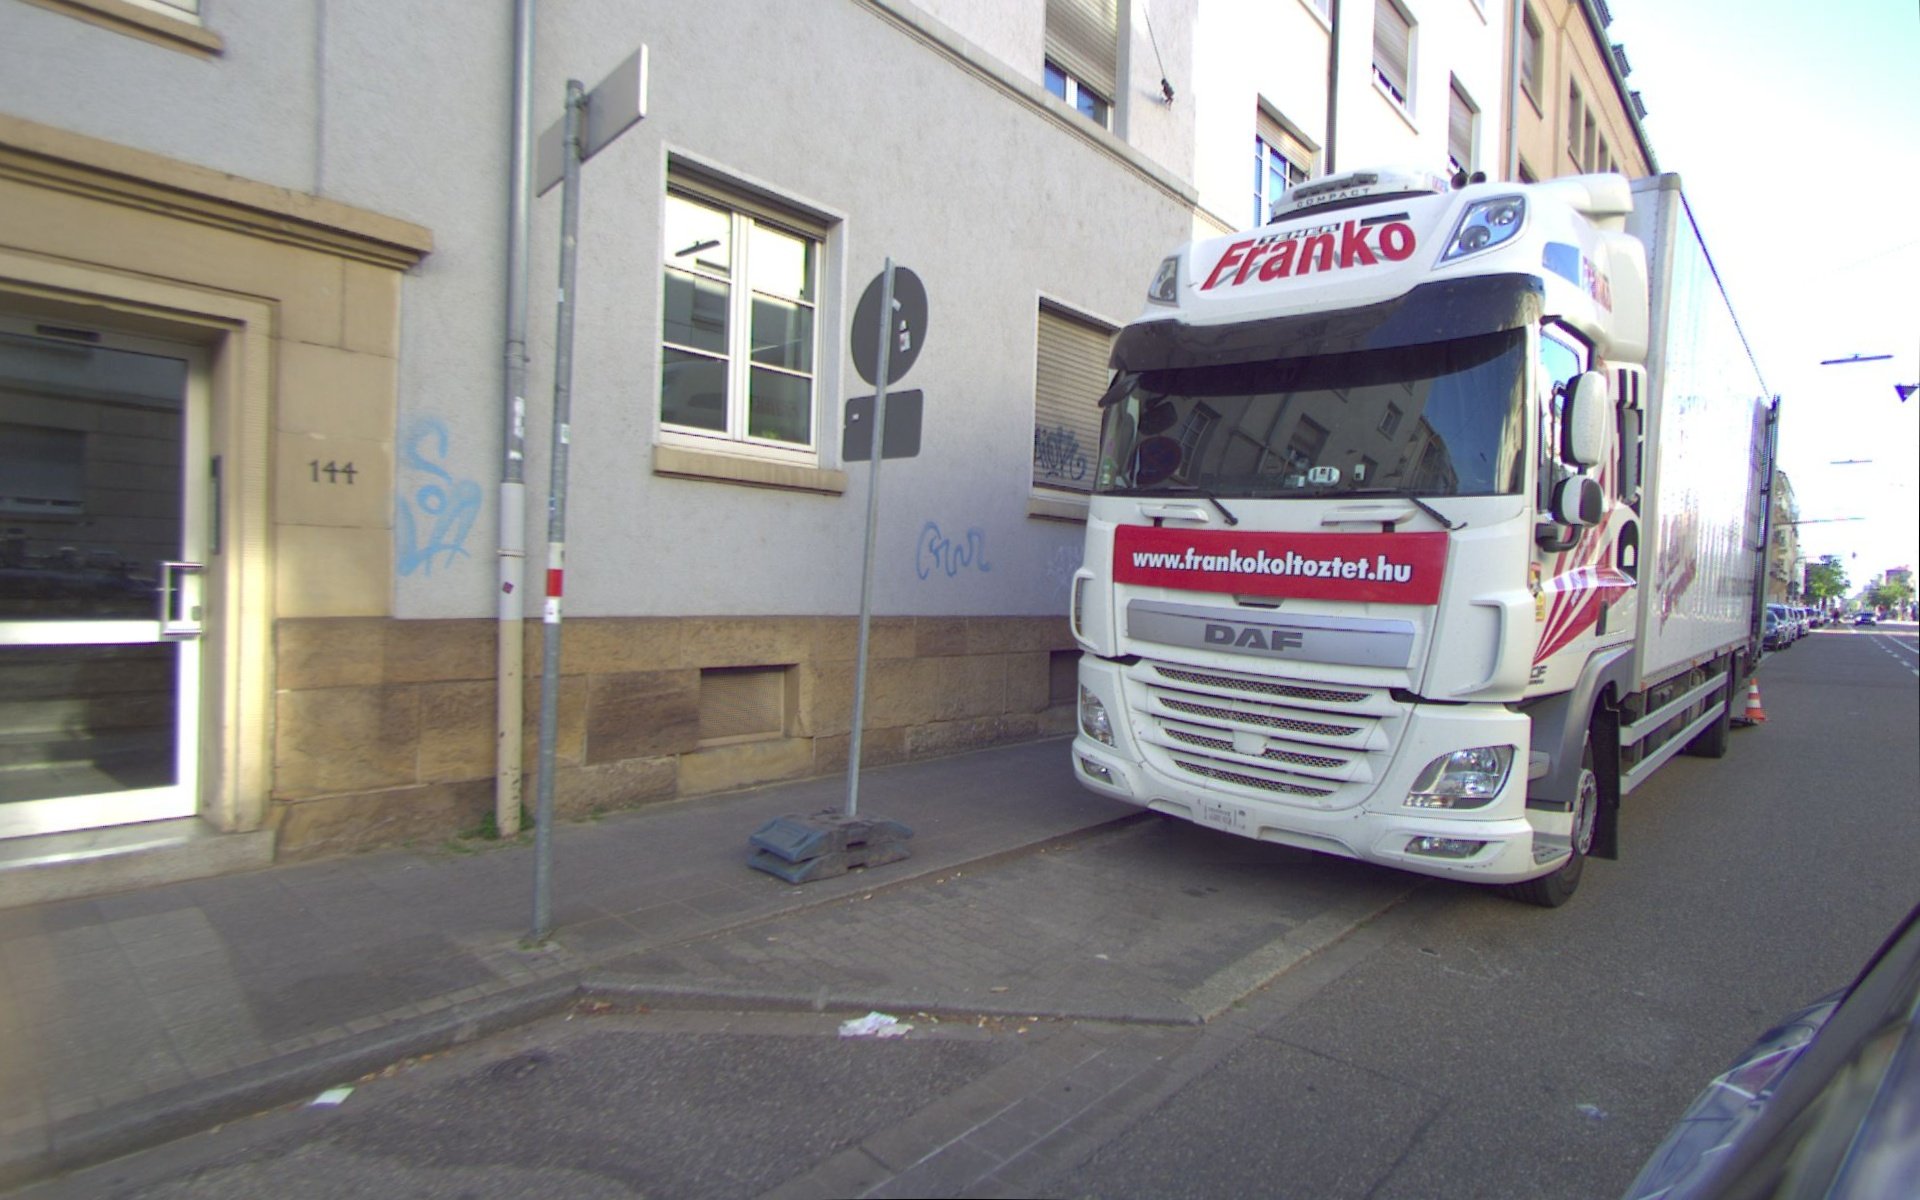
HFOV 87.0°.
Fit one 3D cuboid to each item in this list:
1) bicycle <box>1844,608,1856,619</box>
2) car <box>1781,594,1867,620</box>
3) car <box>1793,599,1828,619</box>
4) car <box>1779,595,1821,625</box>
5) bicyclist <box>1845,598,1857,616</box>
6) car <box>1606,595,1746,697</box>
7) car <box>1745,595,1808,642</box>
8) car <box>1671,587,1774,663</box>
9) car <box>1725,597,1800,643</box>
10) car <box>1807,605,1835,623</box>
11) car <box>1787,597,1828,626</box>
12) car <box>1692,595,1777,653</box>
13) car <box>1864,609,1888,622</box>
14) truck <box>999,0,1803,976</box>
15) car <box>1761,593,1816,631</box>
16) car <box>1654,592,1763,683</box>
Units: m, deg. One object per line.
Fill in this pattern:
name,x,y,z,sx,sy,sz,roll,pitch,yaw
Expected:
bicycle,77.482,1.161,88.069,0.741,0.866,1.857,2,1,42
car,61.811,0.502,72.452,1.736,1.627,4.302,1,2,-24
car,67.391,0.685,80.180,1.993,1.437,3.670,3,2,42
car,47.649,0.531,57.366,1.698,1.610,3.901,2,1,42
bicyclist,77.582,0.628,88.138,0.741,1.508,0.803,2,1,42
car,12.397,0.697,17.426,1.581,1.481,3.823,3,2,41
car,32.746,0.691,40.552,1.708,1.714,4.521,3,2,41
car,19.288,0.570,25.530,1.788,1.672,4.303,3,2,40
car,28.587,0.683,36.024,1.700,1.470,4.140,4,2,43
car,87.008,1.434,102.261,1.993,1.660,3.939,3,2,42
car,52.176,0.690,62.290,1.699,1.609,3.303,7,4,42
car,22.317,0.644,29.117,1.608,1.481,3.426,4,2,42
car,100.588,1.682,111.109,1.855,1.394,3.936,2,1,44
truck,5.235,-0.679,9.051,2.860,4.124,11.595,2,1,43
car,40.528,0.561,49.483,1.700,1.719,4.121,4,2,44
car,15.567,0.698,20.970,1.590,1.629,4.187,3,2,39
